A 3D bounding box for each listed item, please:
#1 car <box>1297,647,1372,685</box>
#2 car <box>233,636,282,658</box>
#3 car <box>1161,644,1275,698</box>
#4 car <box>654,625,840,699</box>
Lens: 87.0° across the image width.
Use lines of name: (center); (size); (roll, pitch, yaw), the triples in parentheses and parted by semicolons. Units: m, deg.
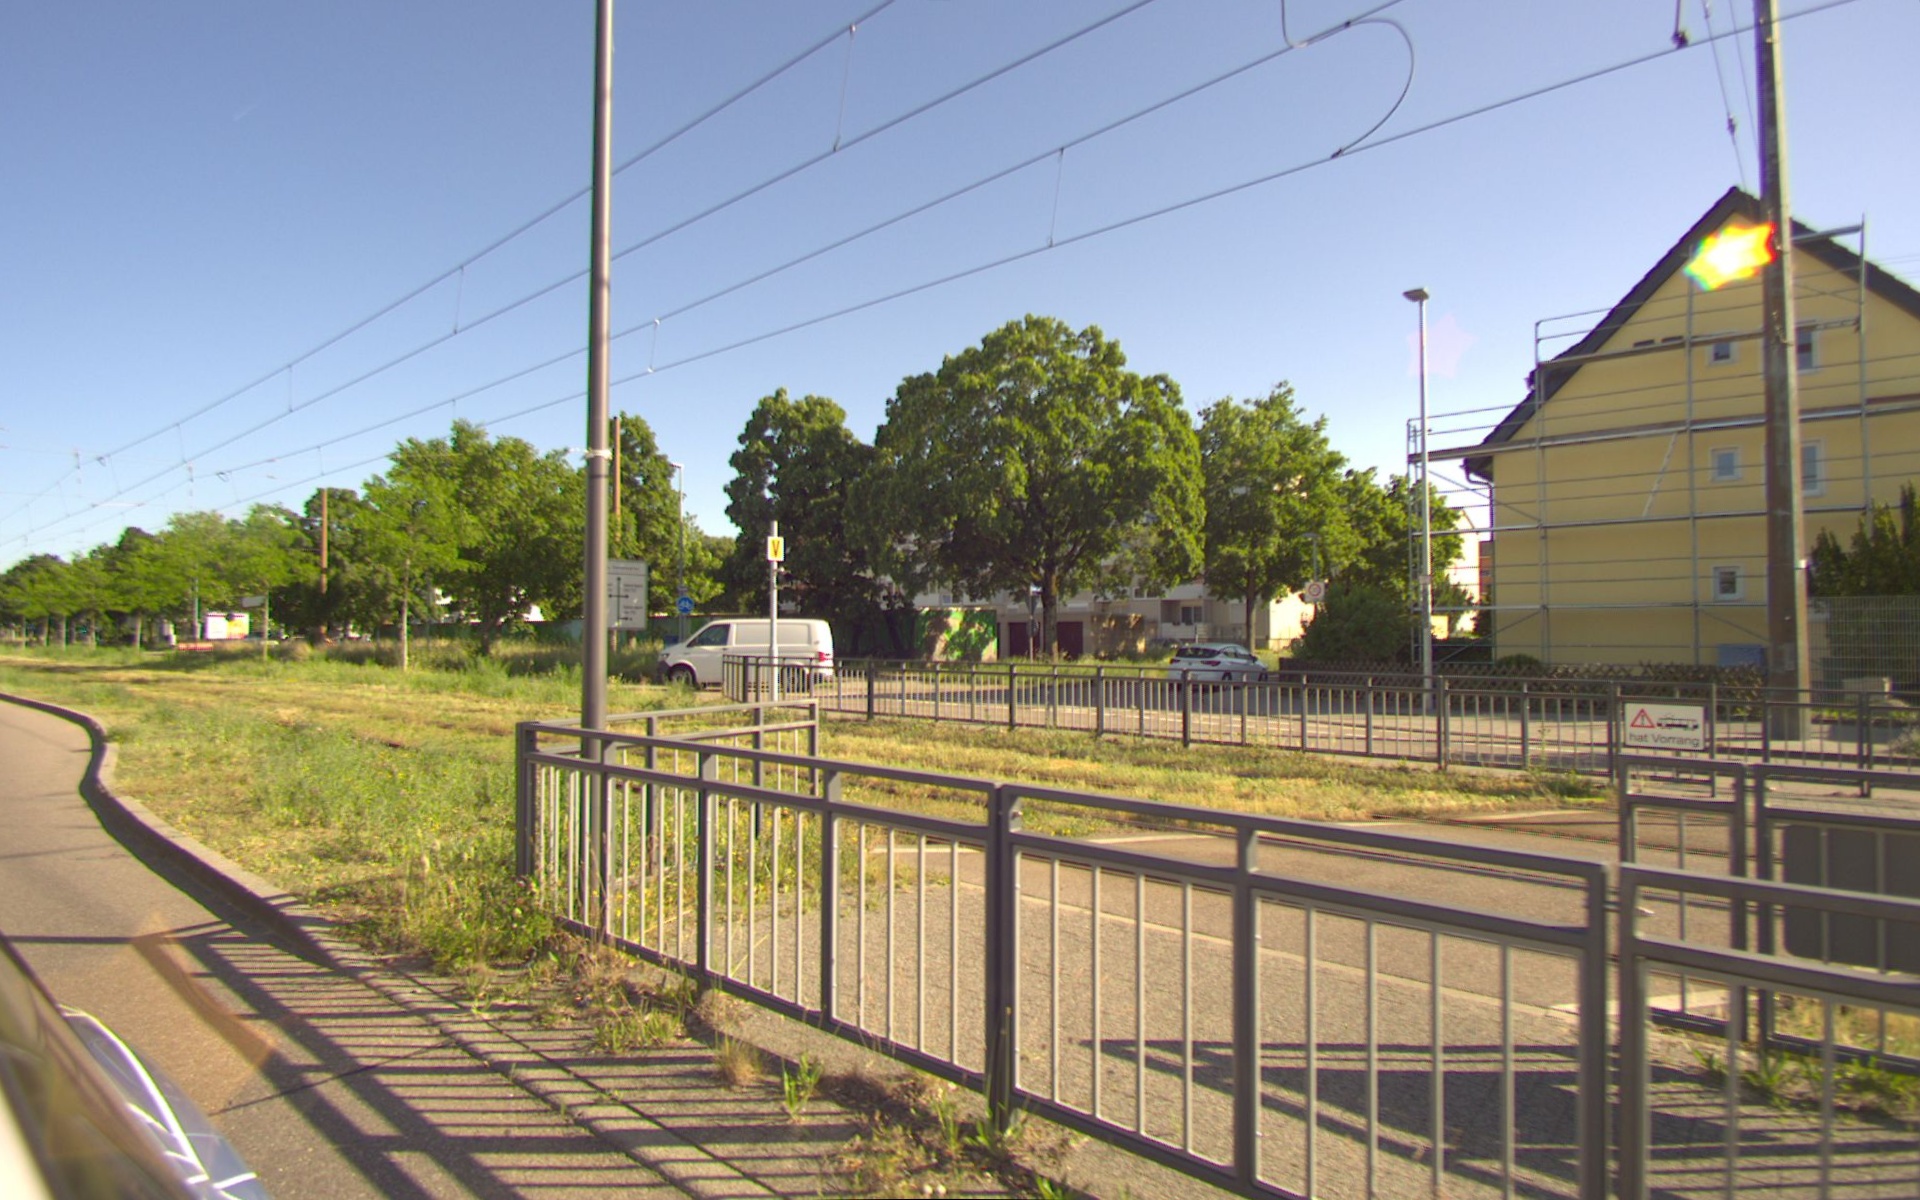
car: (14.379, 2.501, 38.758); (1.559, 1.356, 3.692); (-2, -3, 39)
car: (-65.785, 4.388, 94.872); (1.868, 1.925, 4.820); (-1, -2, -10)
car: (7.915, 2.109, 30.856); (1.851, 1.414, 3.947); (1, -1, 39)
car: (-5.663, 1.657, 27.361); (4.636, 1.929, 1.903); (0, -2, 1)
